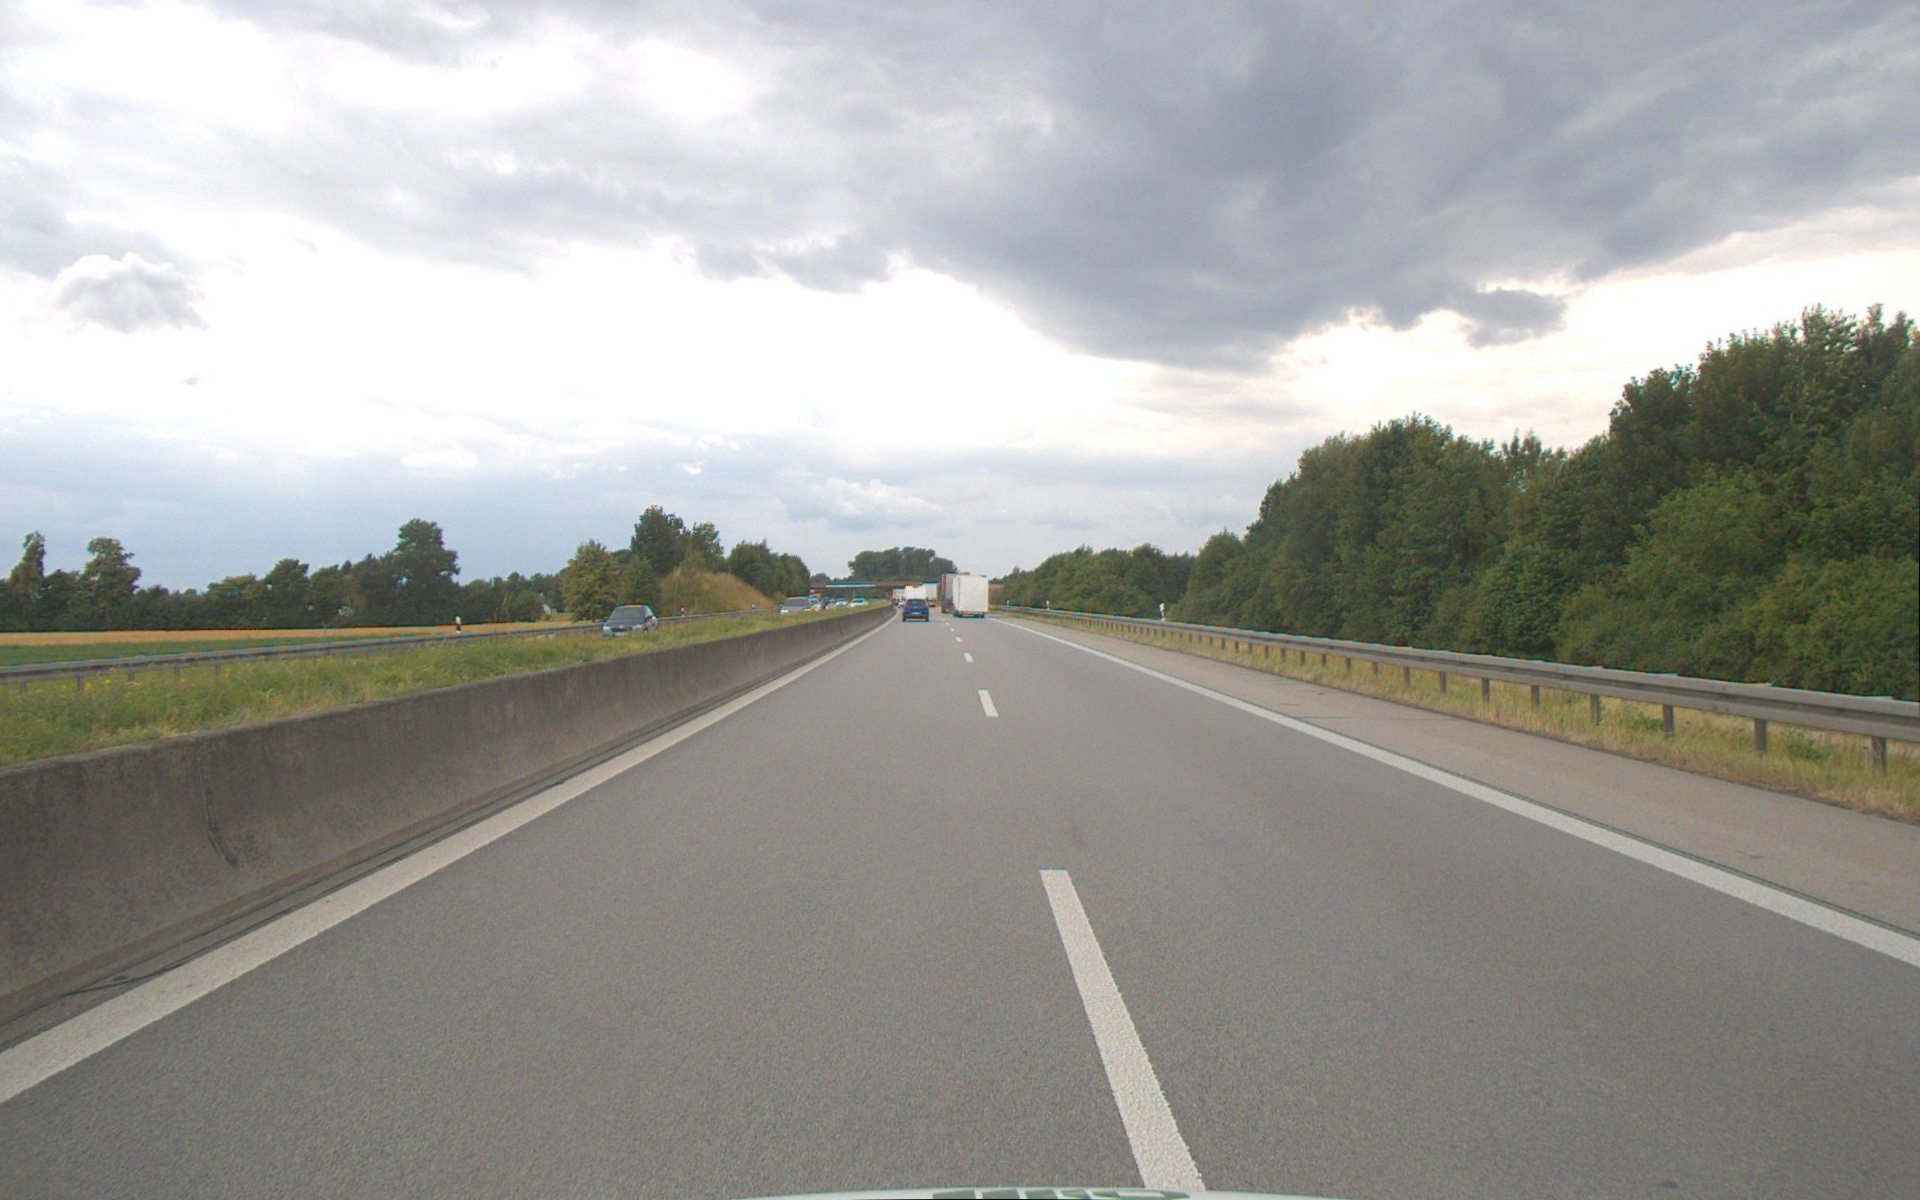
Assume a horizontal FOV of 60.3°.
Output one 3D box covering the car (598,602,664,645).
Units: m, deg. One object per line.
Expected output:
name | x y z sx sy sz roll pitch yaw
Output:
car | -12.838 0.893 64.718 1.711 1.513 4.529 -2 0 -1

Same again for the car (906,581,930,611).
car | -3.725 -0.332 146.340 2.087 2.526 5.837 -1 0 -2

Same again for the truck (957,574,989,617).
truck | 0.985 -0.323 128.086 2.366 3.278 7.142 0 0 -1

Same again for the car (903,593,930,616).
car | -2.774 0.307 104.864 1.630 1.432 3.646 0 0 -3

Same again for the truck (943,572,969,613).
truck | -0.406 -0.805 170.535 2.618 4.116 5.512 -1 0 0

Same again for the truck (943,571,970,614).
truck | -0.366 -0.768 165.116 2.618 4.116 11.106 -1 0 0

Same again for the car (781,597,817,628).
car | -9.530 0.751 98.149 1.804 1.724 4.356 -2 0 -2

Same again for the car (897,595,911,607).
car | -8.596 0.147 253.945 1.955 1.713 3.995 0 0 -5

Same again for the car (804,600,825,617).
car | -14.673 0.829 166.641 1.799 1.654 4.689 -2 0 -2
